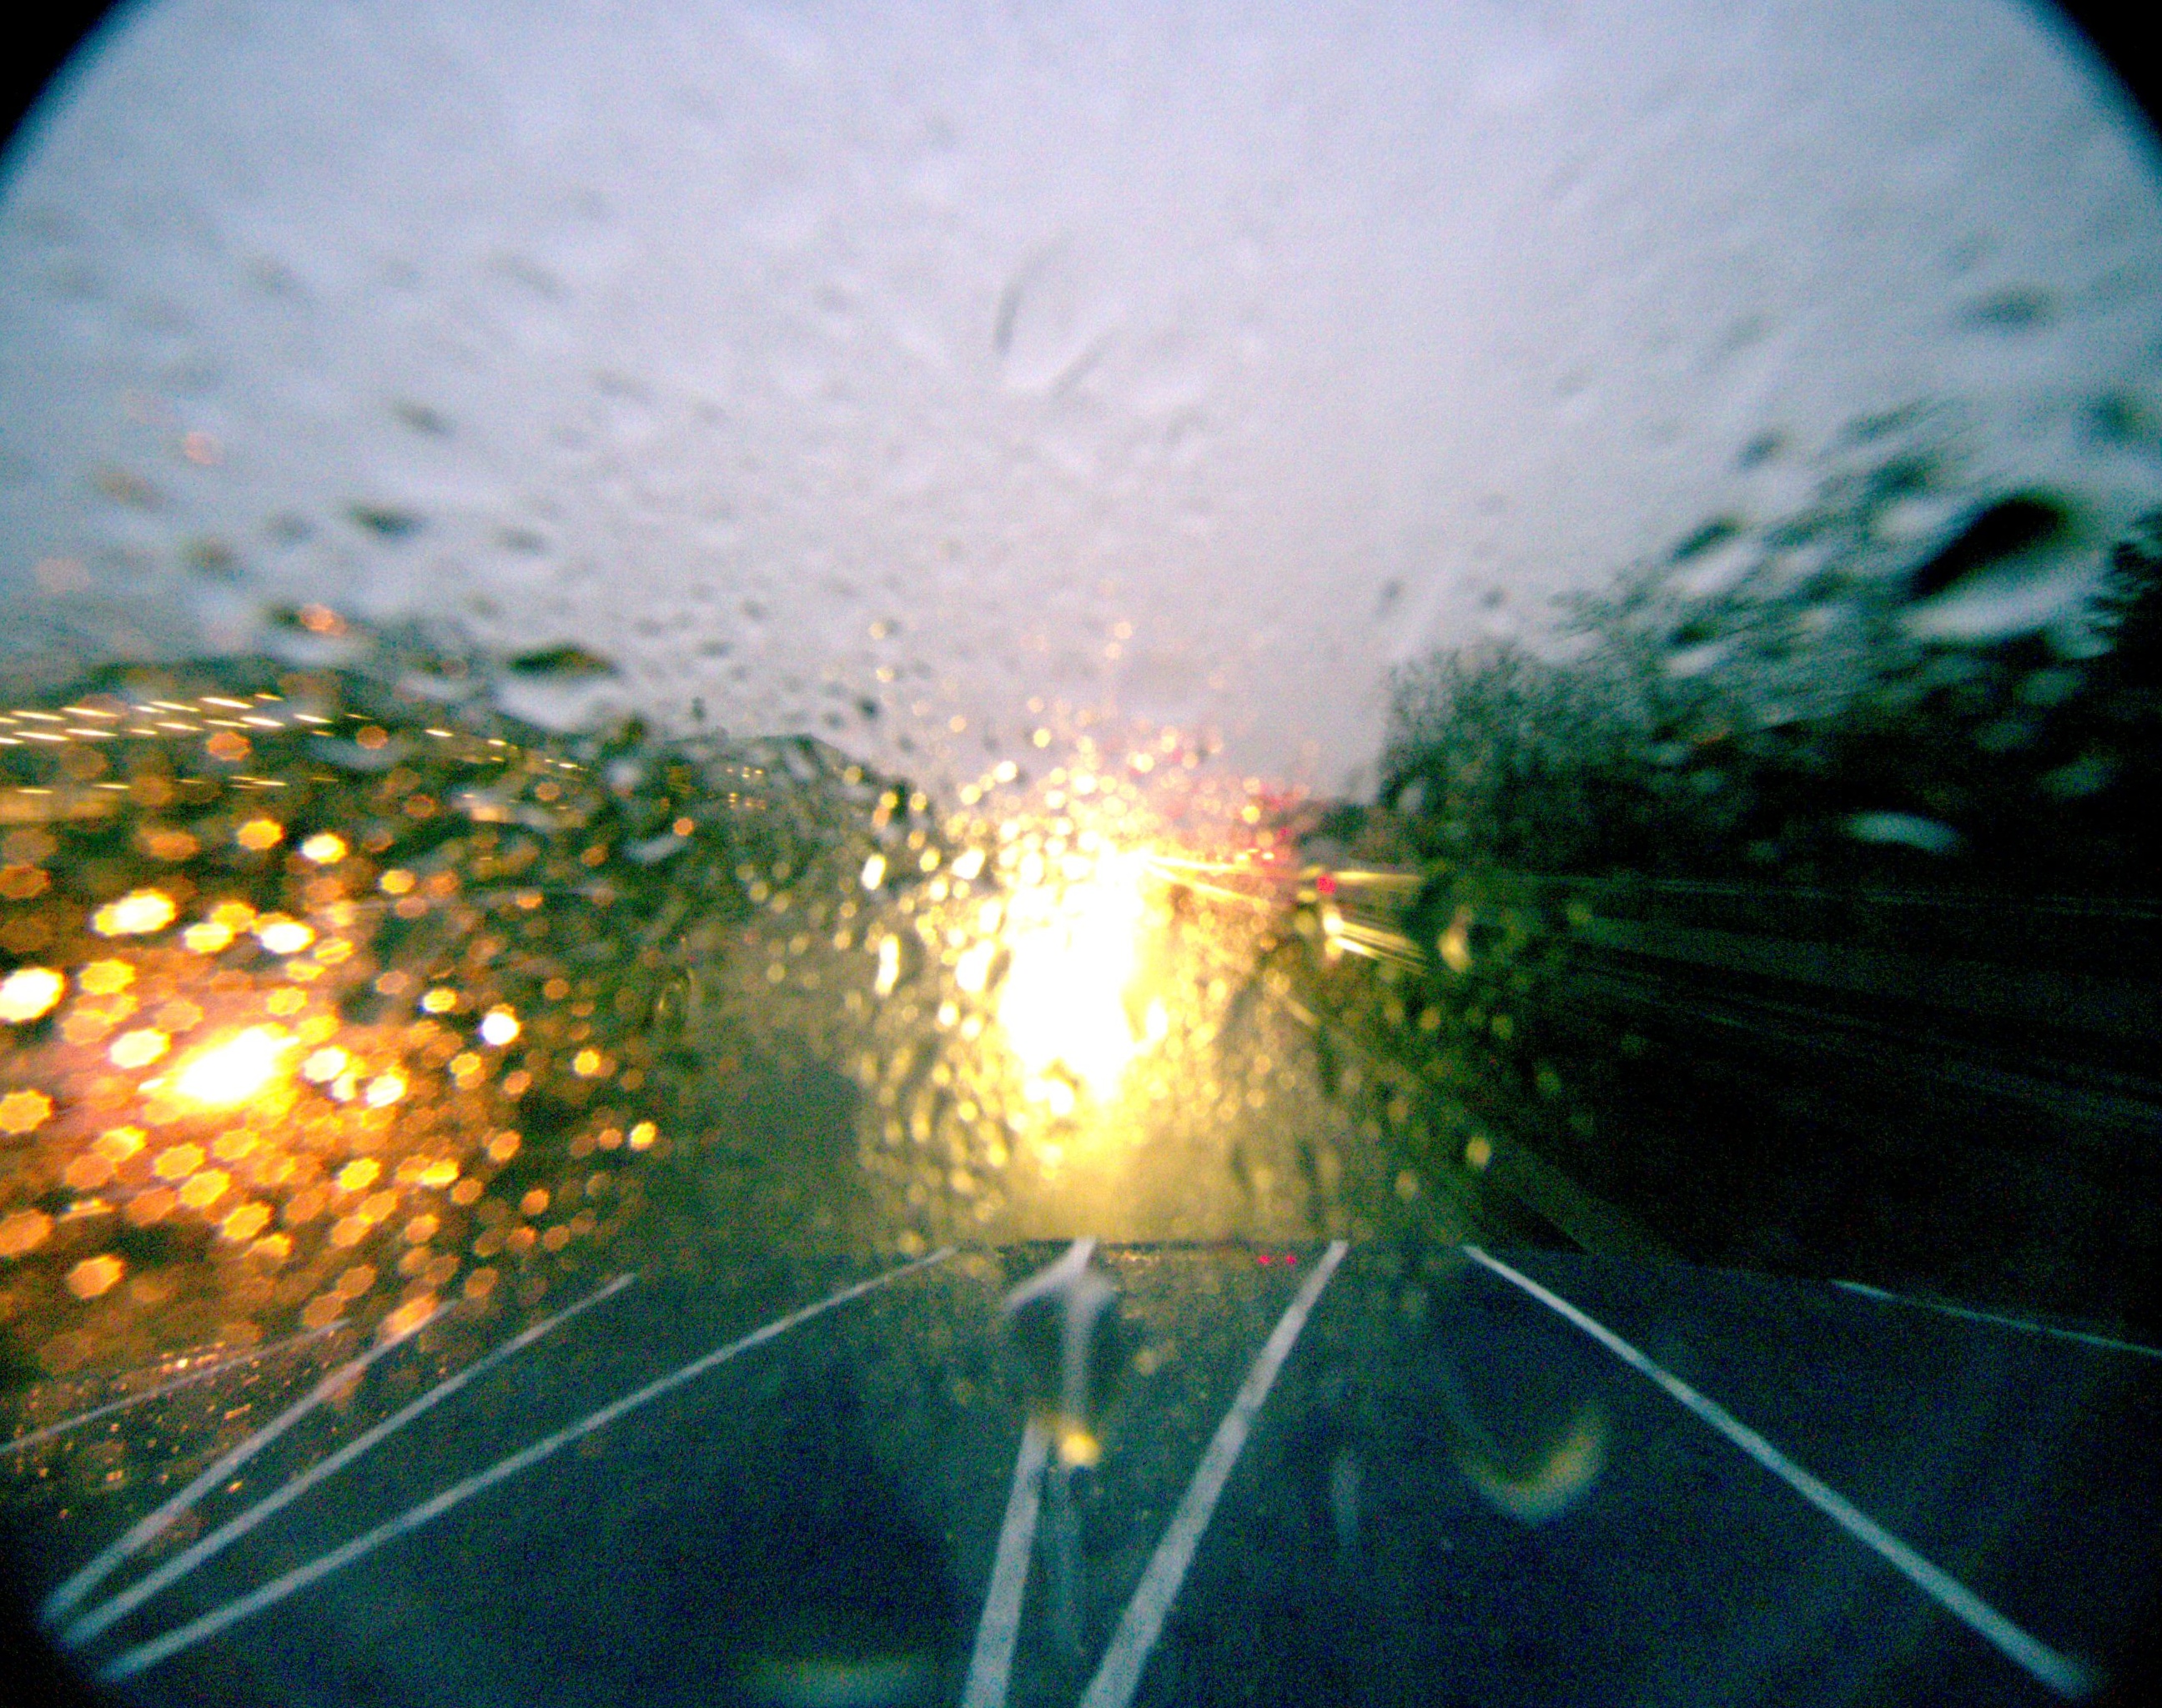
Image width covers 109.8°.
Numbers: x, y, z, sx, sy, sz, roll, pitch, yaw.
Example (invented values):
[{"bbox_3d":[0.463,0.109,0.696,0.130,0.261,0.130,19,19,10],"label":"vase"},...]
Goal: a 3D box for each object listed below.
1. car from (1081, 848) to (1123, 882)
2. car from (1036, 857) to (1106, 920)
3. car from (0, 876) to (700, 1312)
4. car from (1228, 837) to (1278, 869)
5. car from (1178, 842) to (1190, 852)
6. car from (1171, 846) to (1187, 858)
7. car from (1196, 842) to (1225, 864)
[{"bbox_3d":[1.121,0.547,39.280,1.758,1.521,4.001,-3,1,6],"label":"car"},{"bbox_3d":[-0.177,0.850,20.798,1.594,1.445,4.177,-3,0,2],"label":"car"},{"bbox_3d":[-4.598,1.036,5.068,1.854,1.493,4.262,-4,1,0],"label":"car"},{"bbox_3d":[9.309,-0.075,41.335,1.787,1.501,4.135,-4,1,1],"label":"car"},{"bbox_3d":[17.283,-1.199,127.781,1.740,1.486,3.843,-3,1,4],"label":"car"},{"bbox_3d":[12.783,-0.243,99.546,1.620,1.475,4.599,-3,1,3],"label":"car"},{"bbox_3d":[9.766,-0.124,57.340,1.657,1.510,3.505,-3,1,3],"label":"car"}]
